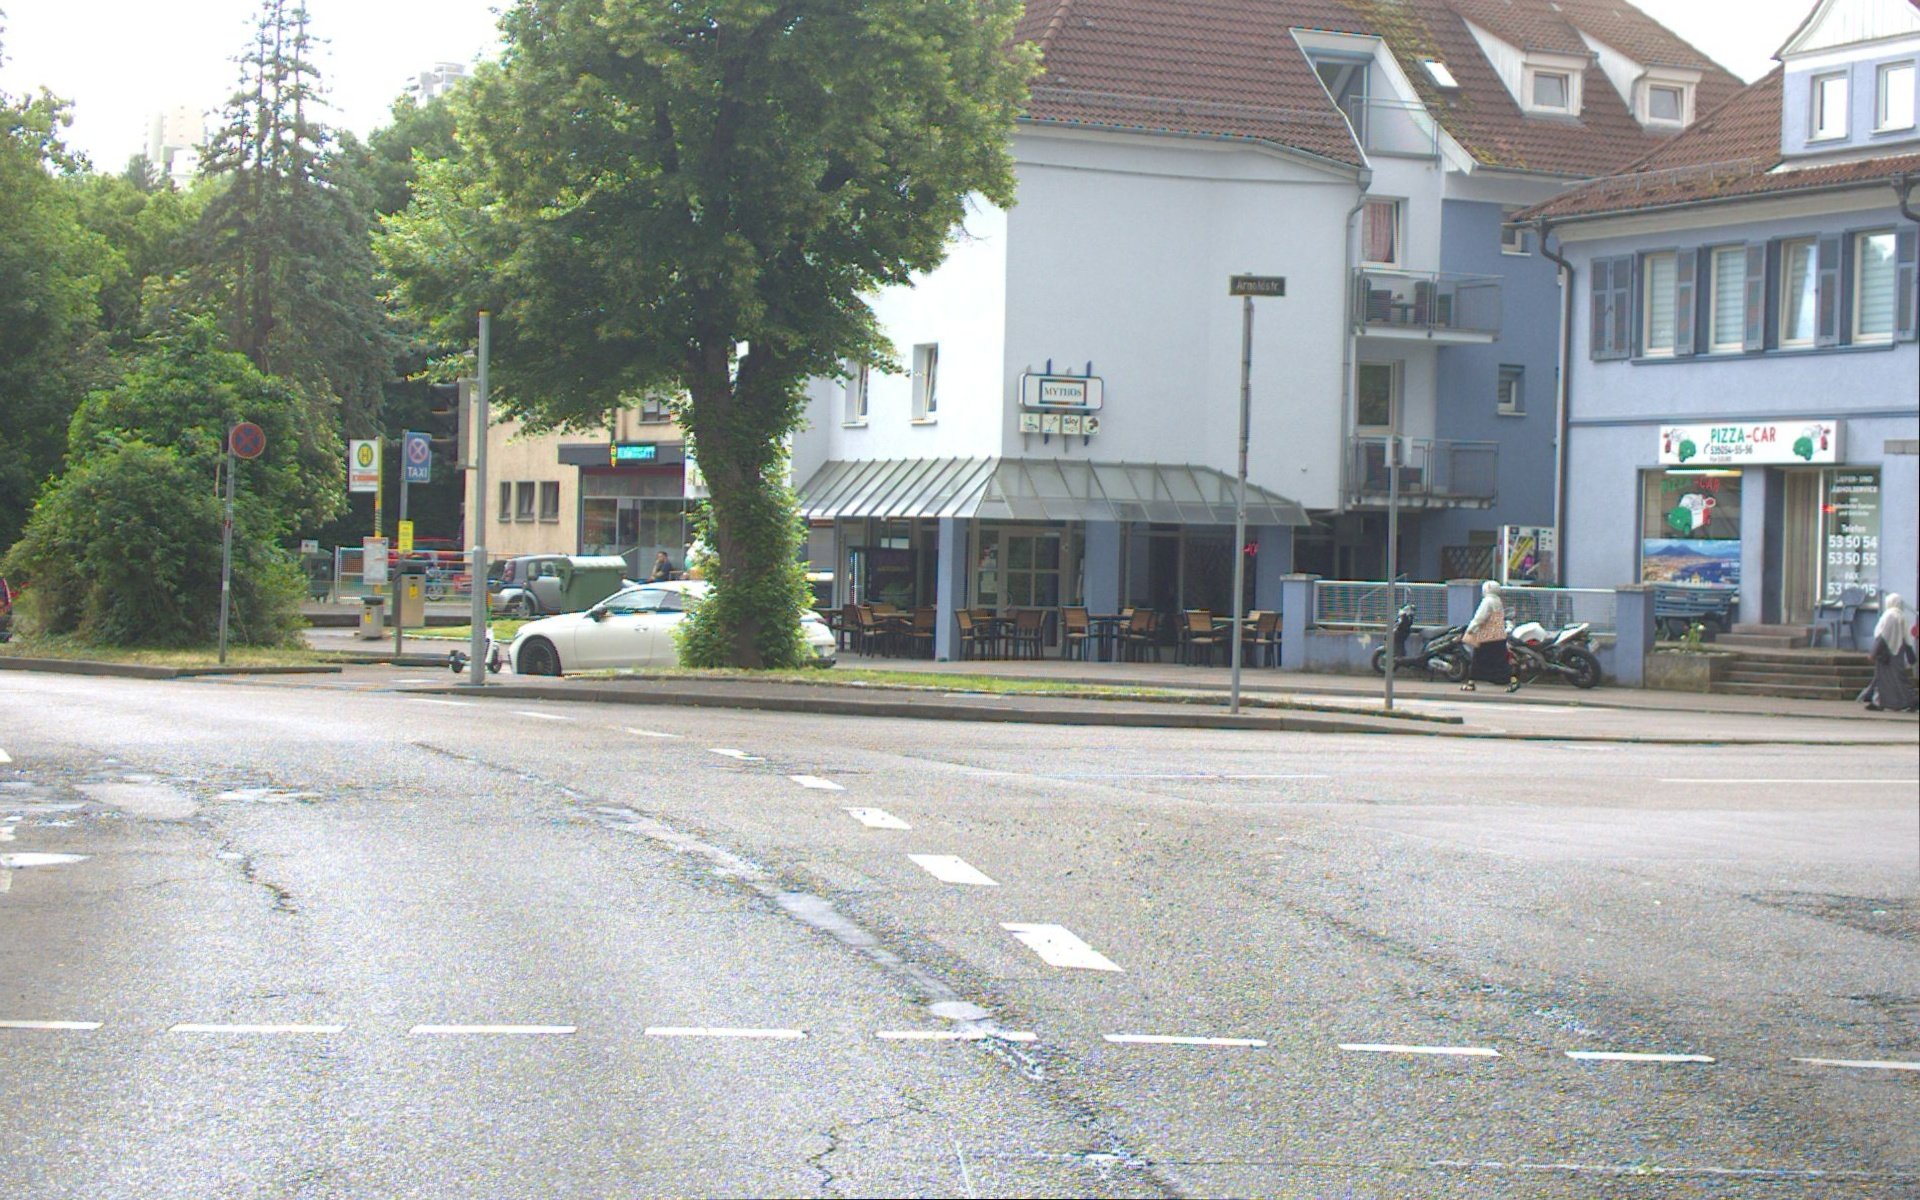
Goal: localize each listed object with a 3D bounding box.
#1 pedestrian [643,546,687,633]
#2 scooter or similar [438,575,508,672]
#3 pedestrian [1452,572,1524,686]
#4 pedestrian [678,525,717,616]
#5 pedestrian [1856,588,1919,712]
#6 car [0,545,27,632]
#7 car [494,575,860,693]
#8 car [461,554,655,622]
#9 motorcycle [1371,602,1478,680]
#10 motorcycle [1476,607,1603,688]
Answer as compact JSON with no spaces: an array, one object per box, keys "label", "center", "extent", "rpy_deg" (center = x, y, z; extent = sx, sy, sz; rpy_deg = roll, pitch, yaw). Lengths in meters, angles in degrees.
[{"label":"pedestrian","center":[-6.922,-0.251,80.594],"extent":[0.837,2.007,1.056],"rpy_deg":[1,1,-14]},{"label":"scooter or similar","center":[-6.027,0.285,42.614],"extent":[0.442,1.171,1.437],"rpy_deg":[1,1,9]},{"label":"pedestrian","center":[7.281,0.392,47.425],"extent":[0.732,1.554,0.767],"rpy_deg":[1,0,31]},{"label":"pedestrian","center":[-4.515,-0.500,59.210],"extent":[0.543,1.554,0.467],"rpy_deg":[0,0,13]},{"label":"pedestrian","center":[11.917,0.635,44.002],"extent":[0.695,1.554,0.665],"rpy_deg":[1,0,31]},{"label":"car","center":[-16.417,-0.214,53.518],"extent":[3.322,1.347,1.778],"rpy_deg":[1,1,27]},{"label":"car","center":[-3.802,0.423,45.759],"extent":[4.709,1.405,1.898],"rpy_deg":[2,1,35]},{"label":"car","center":[-8.855,-0.267,75.627],"extent":[3.936,1.437,1.753],"rpy_deg":[1,1,-20]},{"label":"motorcycle","center":[6.776,0.593,50.132],"extent":[1.458,1.085,0.523],"rpy_deg":[1,1,35]},{"label":"motorcycle","center":[8.152,0.664,48.362],"extent":[1.628,1.085,0.626],"rpy_deg":[1,1,32]}]
